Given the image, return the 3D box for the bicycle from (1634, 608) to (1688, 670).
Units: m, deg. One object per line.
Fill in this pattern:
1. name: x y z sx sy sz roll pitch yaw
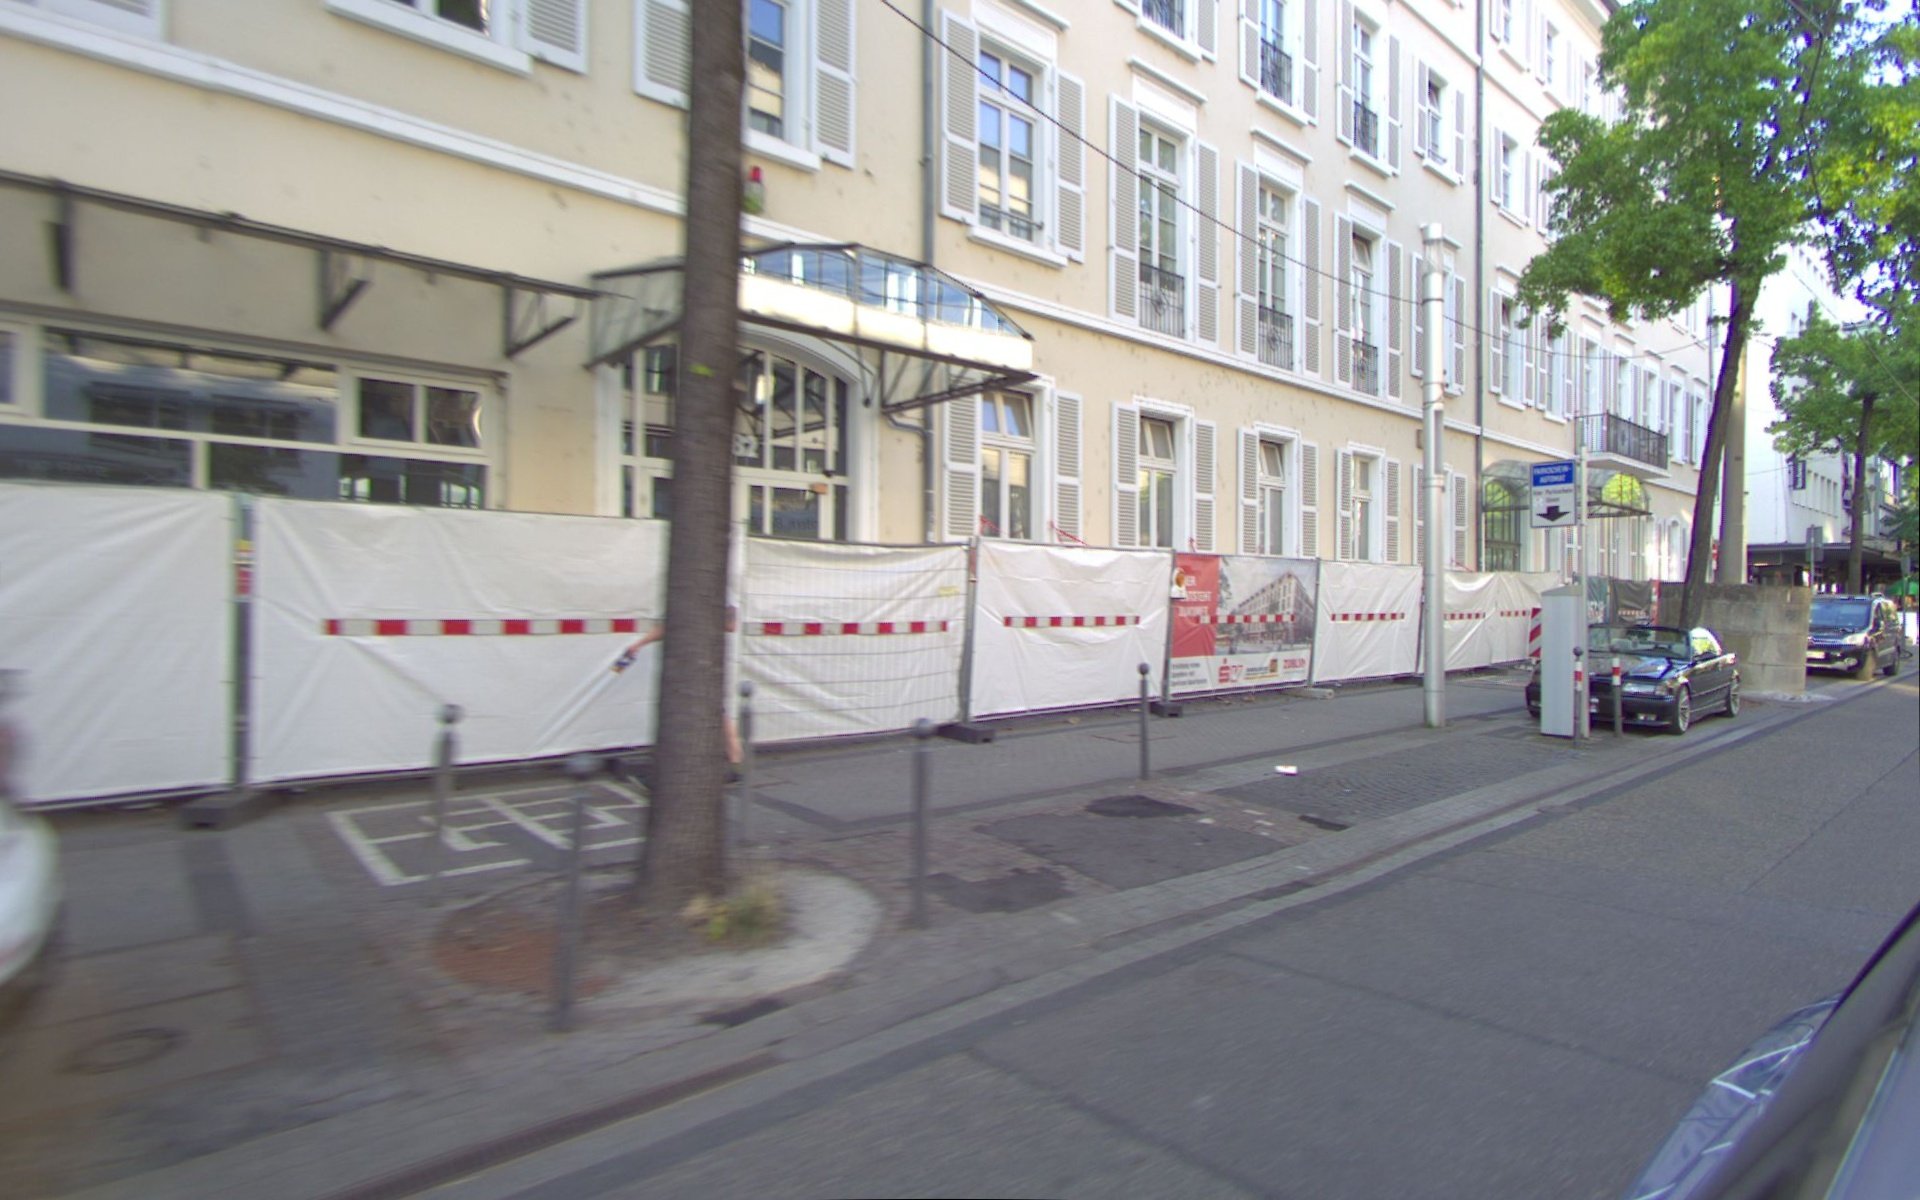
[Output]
1. bicycle: 13.304 0.716 19.241 0.650 1.084 1.657 3 1 29

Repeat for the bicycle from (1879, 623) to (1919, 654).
1. bicycle: 26.119 1.048 27.093 1.531 0.757 1.761 0 2 -23

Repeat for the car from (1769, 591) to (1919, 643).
1. car: 30.835 0.533 35.121 1.831 1.628 3.944 -2 1 -33

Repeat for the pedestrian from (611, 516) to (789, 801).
1. pedestrian: -1.897 0.382 7.407 1.034 1.910 0.714 0 1 -41

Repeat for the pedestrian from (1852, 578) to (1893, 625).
1. pedestrian: 36.191 0.048 40.147 1.050 1.837 0.946 -2 1 -33

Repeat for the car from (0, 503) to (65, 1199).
1. car: -4.442 0.632 1.286 4.886 1.708 2.000 -1 3 -44

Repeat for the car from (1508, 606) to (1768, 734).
1. car: 9.110 0.798 13.460 4.254 1.327 1.798 0 2 -41

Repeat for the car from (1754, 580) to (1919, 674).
1. car: 19.291 0.520 22.202 4.237 1.815 1.958 0 2 -38
